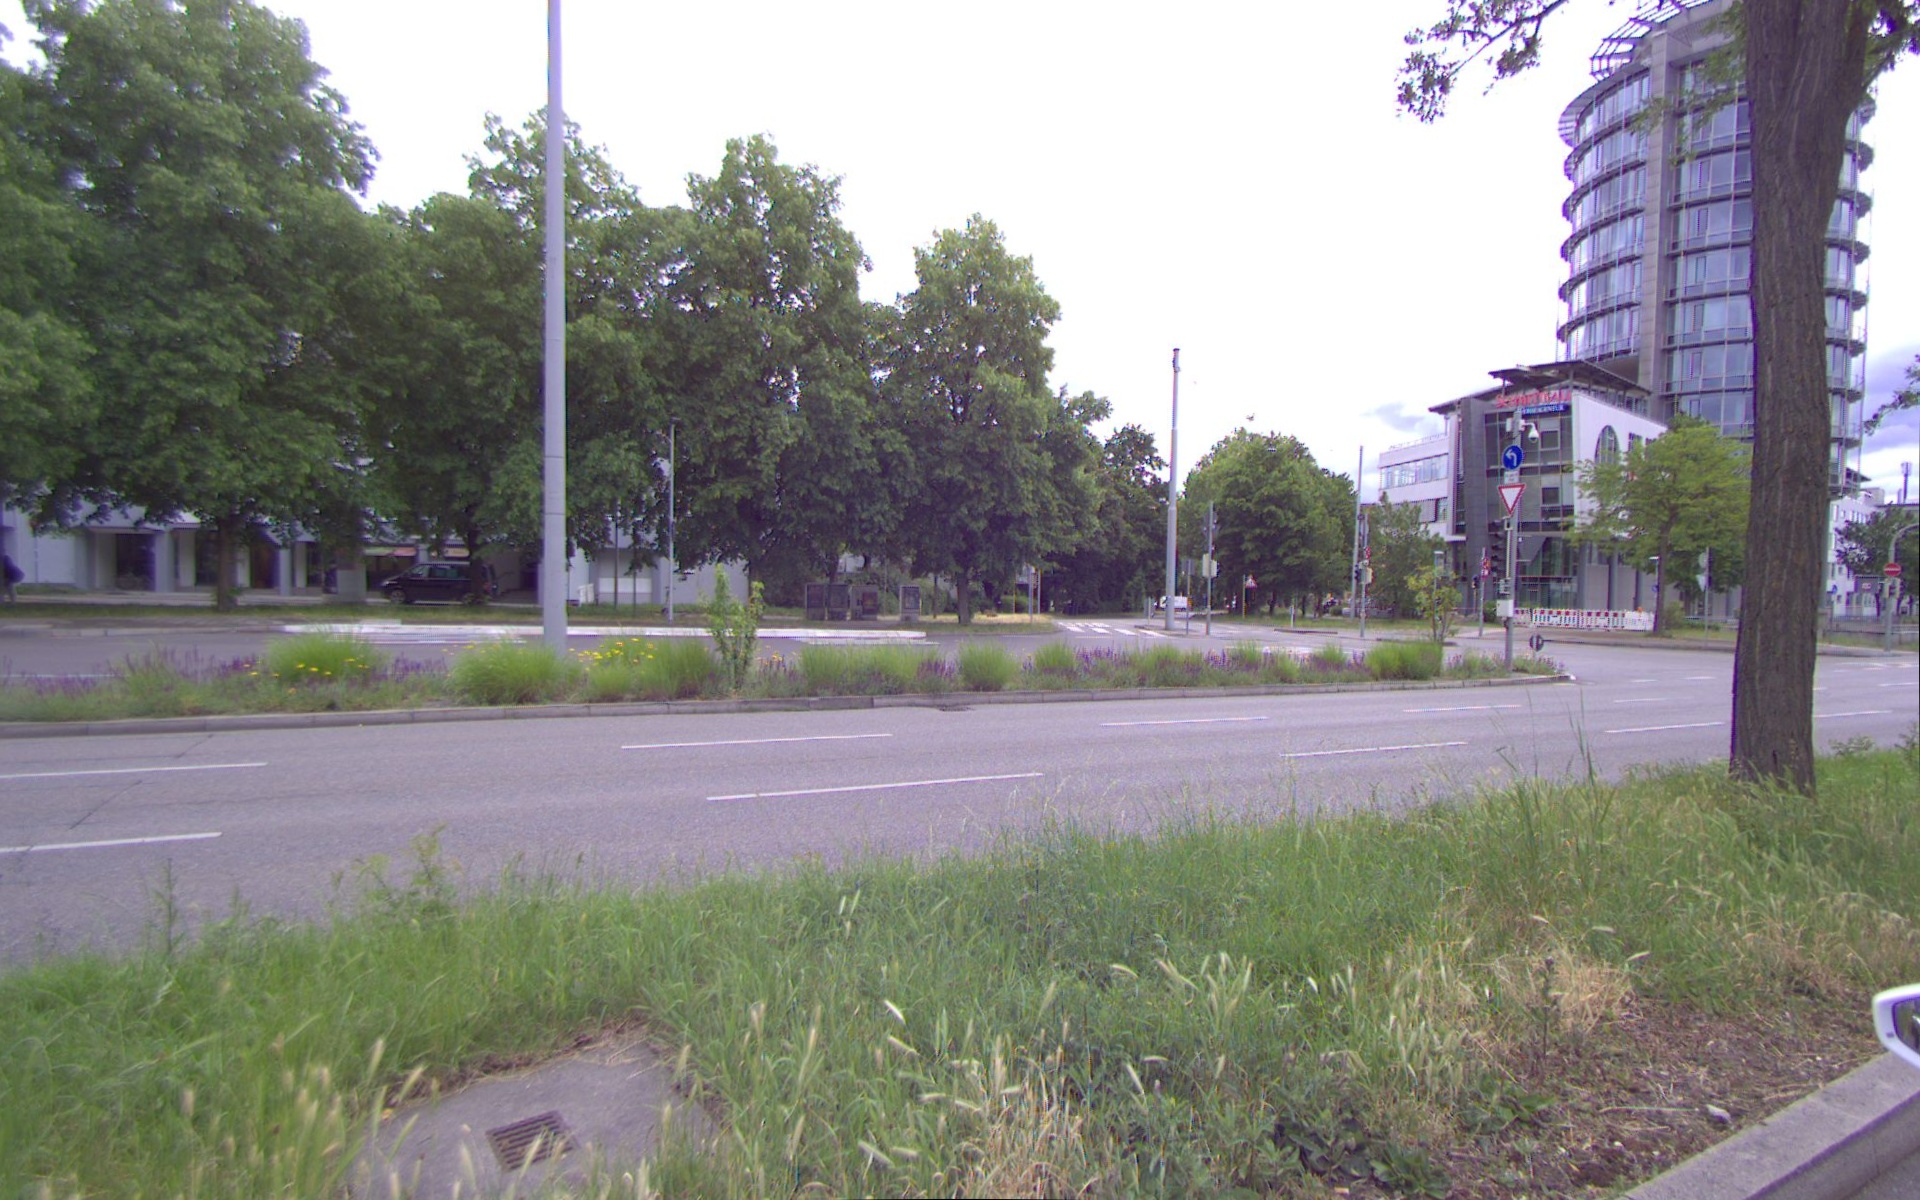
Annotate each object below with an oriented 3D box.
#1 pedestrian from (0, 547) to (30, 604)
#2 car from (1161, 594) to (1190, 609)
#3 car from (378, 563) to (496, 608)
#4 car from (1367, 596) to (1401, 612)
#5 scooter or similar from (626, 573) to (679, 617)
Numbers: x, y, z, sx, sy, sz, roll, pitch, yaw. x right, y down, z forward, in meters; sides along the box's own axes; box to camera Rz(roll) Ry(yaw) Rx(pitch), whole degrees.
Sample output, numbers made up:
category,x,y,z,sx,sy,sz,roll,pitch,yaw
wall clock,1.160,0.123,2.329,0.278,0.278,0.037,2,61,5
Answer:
category,x,y,z,sx,sy,sz,roll,pitch,yaw
pedestrian,-26.610,-0.685,27.944,0.894,1.578,0.766,1,1,-30
car,37.712,0.255,175.663,4.475,2.370,1.994,2,0,-16
car,-23.324,-0.642,44.933,4.345,1.872,1.781,1,1,-16
car,25.033,0.236,59.382,1.684,0.888,0.776,1,0,7
scooter or similar,-11.877,-0.186,38.836,1.835,1.686,0.645,1,1,-43
